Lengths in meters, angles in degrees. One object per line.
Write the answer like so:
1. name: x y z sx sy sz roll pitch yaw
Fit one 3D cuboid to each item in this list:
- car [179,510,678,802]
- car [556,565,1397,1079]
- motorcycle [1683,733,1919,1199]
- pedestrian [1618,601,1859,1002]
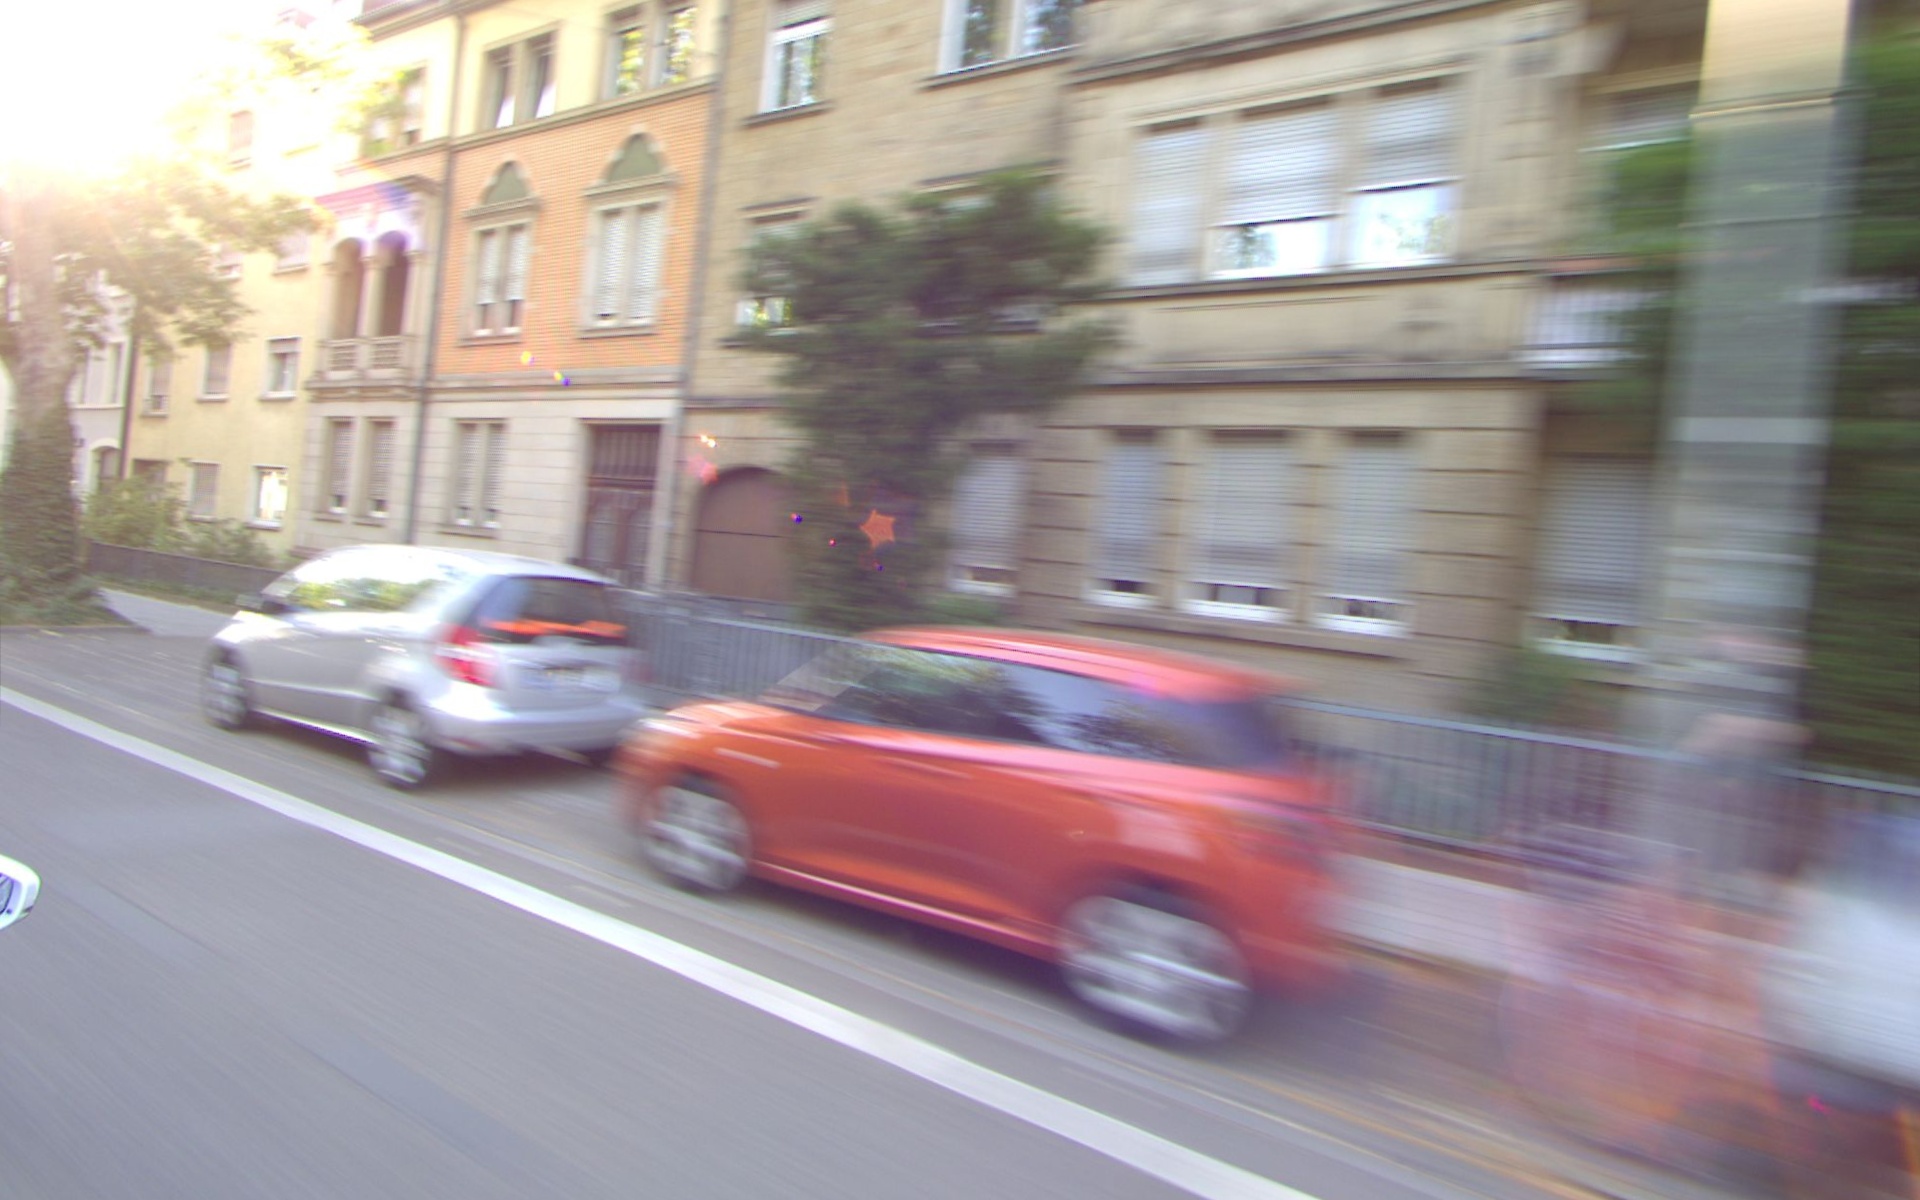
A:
1. car: -4.277 0.320 7.962 3.790 1.711 1.746 5 -1 33
2. car: 0.040 0.815 5.380 3.913 1.579 1.997 5 -1 30
3. motorcycle: 3.541 1.274 2.687 2.335 1.417 0.825 6 2 19
4. pedestrian: 4.255 1.043 5.579 0.801 1.961 0.711 6 0 31
